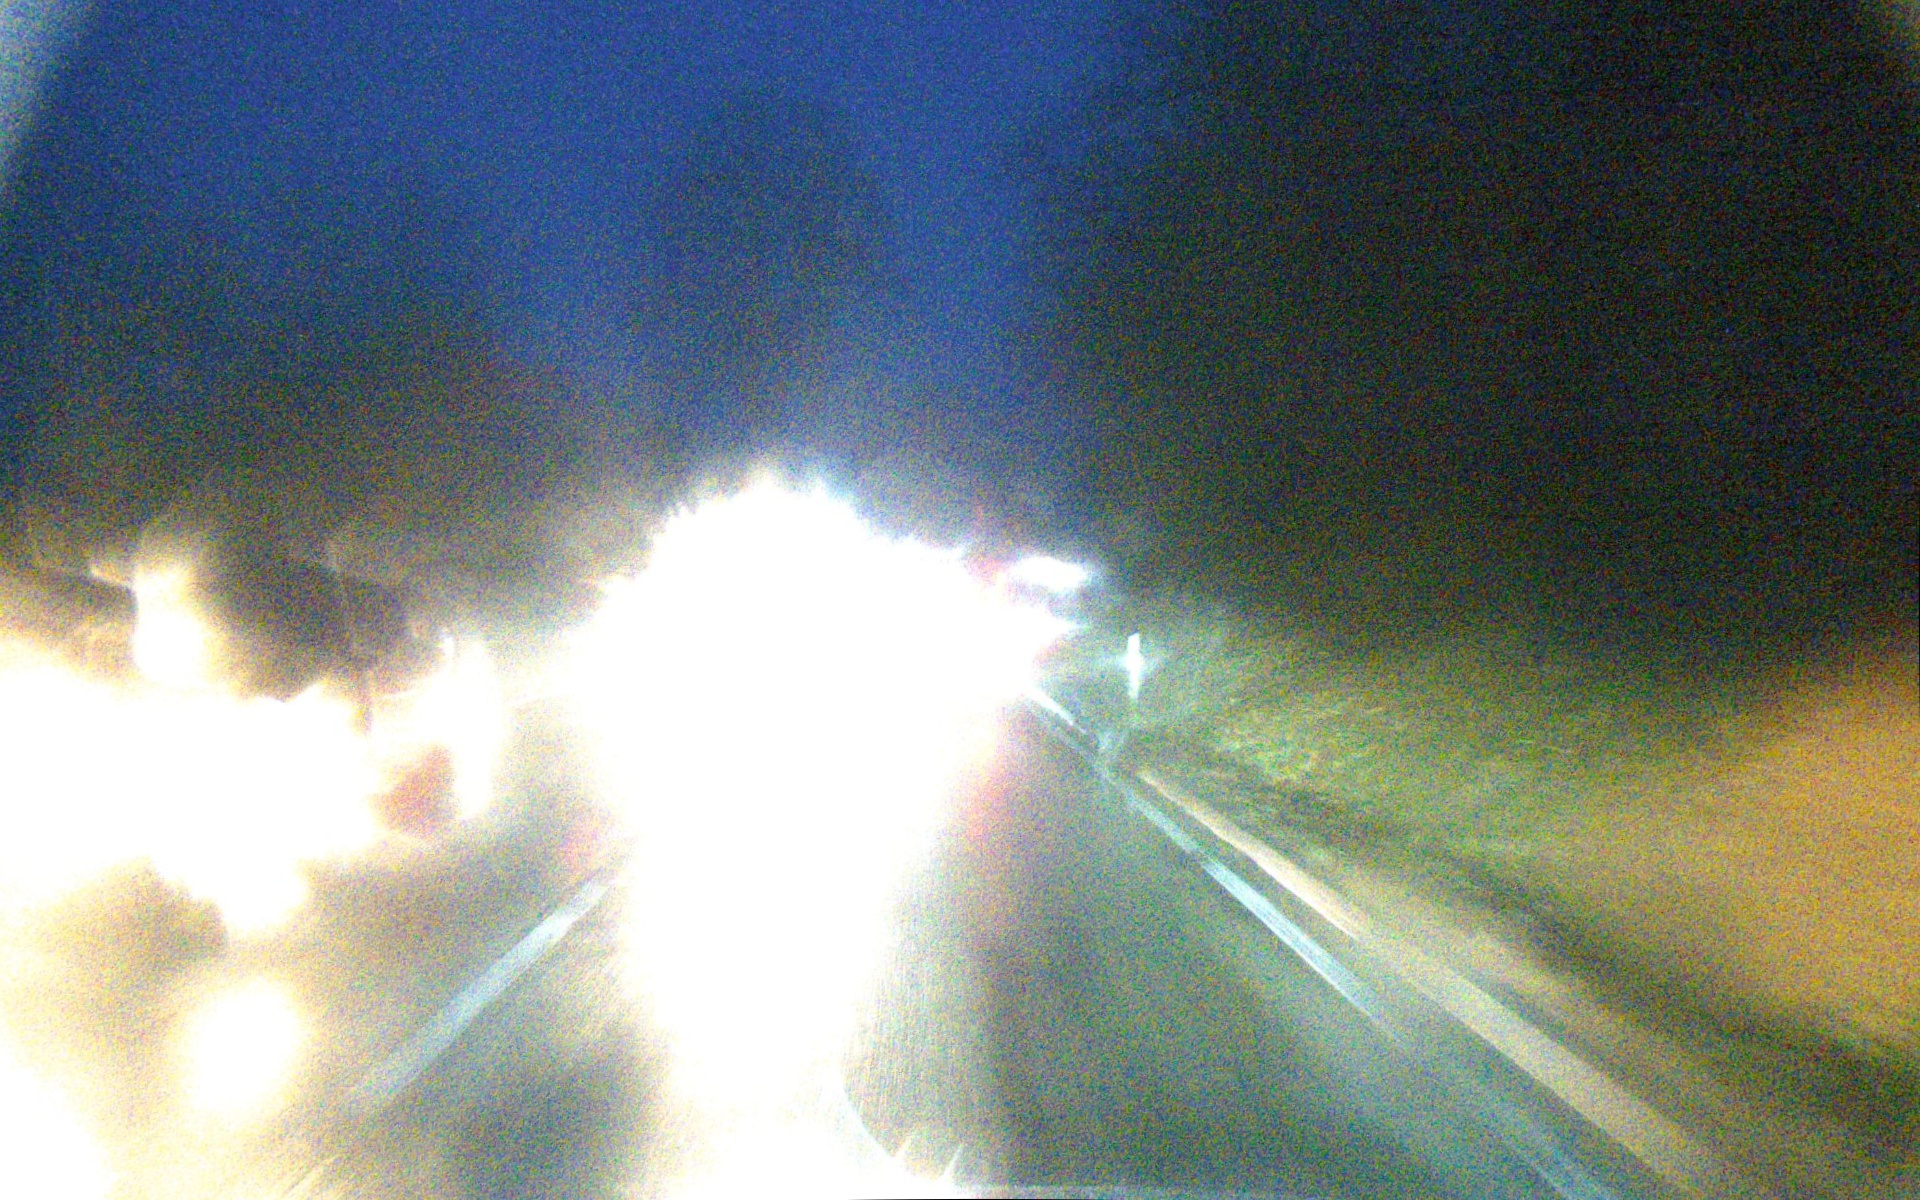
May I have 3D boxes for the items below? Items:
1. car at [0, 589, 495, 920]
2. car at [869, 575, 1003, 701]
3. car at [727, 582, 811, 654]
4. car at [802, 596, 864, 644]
[{"bbox_3d":[-3.793,0.680,9.023,1.566,1.449,3.551,0,0,-1],"label":"car"},{"bbox_3d":[-0.363,0.558,26.124,1.953,1.838,3.917,0,0,-1],"label":"car"},{"bbox_3d":[-4.373,0.386,38.322,1.629,1.587,3.560,0,0,-2],"label":"car"},{"bbox_3d":[-4.244,0.632,55.682,1.720,1.430,4.487,2,1,-1],"label":"car"}]
